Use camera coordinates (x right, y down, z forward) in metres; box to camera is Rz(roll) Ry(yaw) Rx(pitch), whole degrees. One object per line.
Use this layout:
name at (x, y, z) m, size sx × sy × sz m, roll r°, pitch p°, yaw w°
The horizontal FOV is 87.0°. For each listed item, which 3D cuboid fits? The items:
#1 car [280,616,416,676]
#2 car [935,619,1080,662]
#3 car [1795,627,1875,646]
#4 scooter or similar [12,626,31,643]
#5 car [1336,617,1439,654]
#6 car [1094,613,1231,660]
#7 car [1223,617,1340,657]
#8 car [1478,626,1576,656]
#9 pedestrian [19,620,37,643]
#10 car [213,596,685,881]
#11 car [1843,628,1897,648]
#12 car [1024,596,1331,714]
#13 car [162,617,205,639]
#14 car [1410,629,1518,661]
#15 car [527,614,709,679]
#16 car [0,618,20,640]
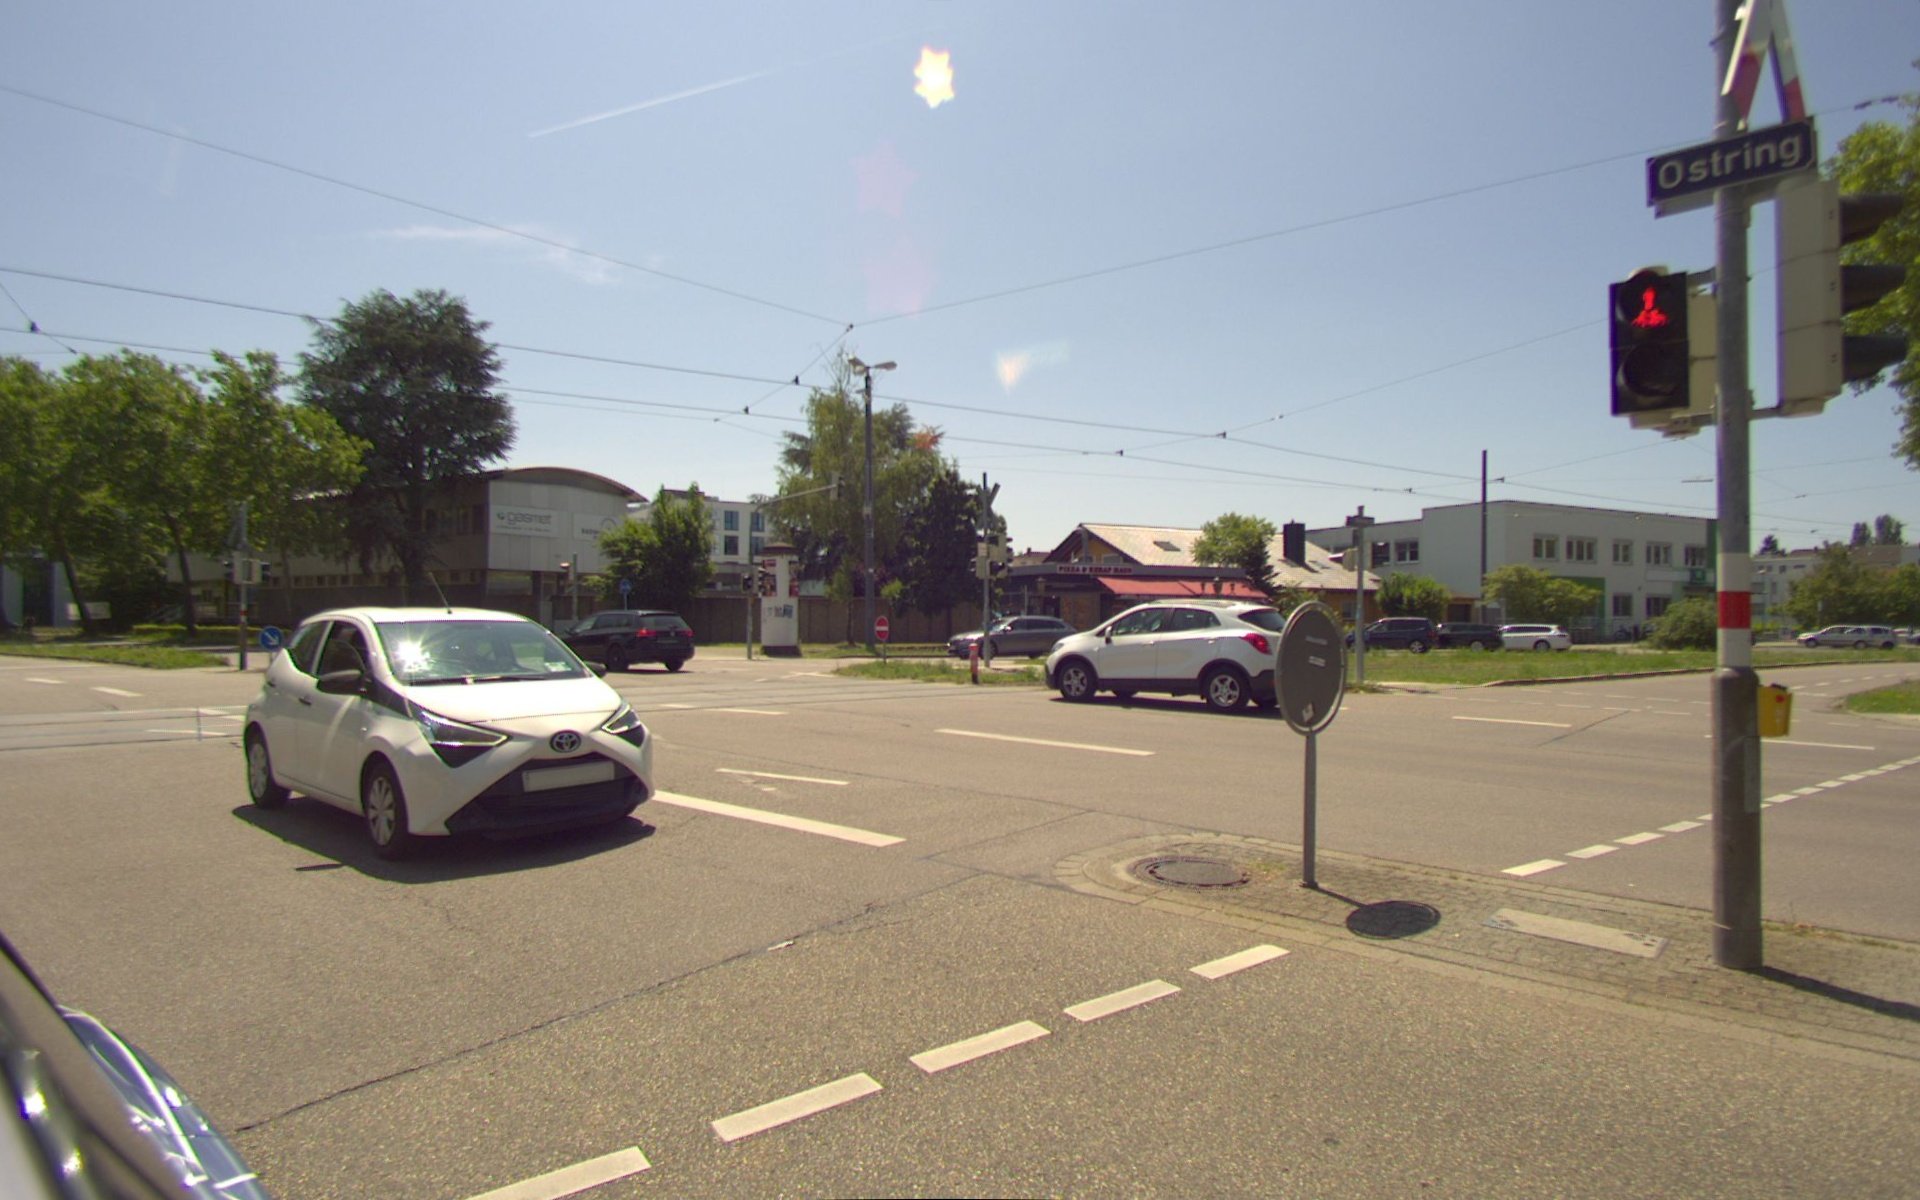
car at (-16.940, 1.218, 27.946) m, size 4.294 × 1.550 × 1.890 m, roll -1°, pitch -2°, yaw 39°
car at (1.617, 1.335, 34.585) m, size 4.589 × 1.391 × 1.894 m, roll 1°, pitch -1°, yaw -25°
car at (56.748, 2.350, 65.727) m, size 3.890 × 1.214 × 1.344 m, roll -1°, pitch -2°, yaw 40°
scooter or similar at (-64.720, 2.376, 69.800) m, size 0.854 × 1.172 × 0.674 m, roll -1°, pitch -1°, yaw 25°
car at (20.112, 1.635, 47.668) m, size 4.185 × 1.663 × 1.762 m, roll -1°, pitch -2°, yaw 36°
car at (7.384, 1.296, 36.949) m, size 4.384 × 1.617 × 2.224 m, roll 0°, pitch -1°, yaw -23°
car at (14.068, 1.612, 44.391) m, size 4.559 × 1.663 × 1.763 m, roll -1°, pitch -2°, yaw 35°
car at (28.537, 2.013, 51.014) m, size 4.056 × 1.434 × 1.921 m, roll -1°, pitch -2°, yaw 39°
pedestrian at (-63.964, 2.171, 69.451) m, size 0.787 × 1.572 × 0.638 m, roll -1°, pitch -2°, yaw 25°
car at (-3.688, 0.738, 7.050) m, size 3.648 × 1.456 × 1.602 m, roll -1°, pitch 1°, yaw 40°
car at (59.225, 2.462, 65.904) m, size 2.447 × 1.214 × 1.109 m, roll 0°, pitch -1°, yaw 32°
car at (3.322, 0.798, 15.919) m, size 4.398 × 1.627 × 1.770 m, roll -1°, pitch -2°, yaw 38°
car at (-63.253, 2.284, 82.422) m, size 3.518 × 1.659 × 1.800 m, roll 0°, pitch 1°, yaw 34°
car at (24.011, 2.106, 48.227) m, size 4.379 × 1.422 × 1.856 m, roll -1°, pitch -2°, yaw 36°
car at (-8.509, 1.085, 25.030) m, size 4.738 × 1.451 × 1.931 m, roll -1°, pitch -1°, yaw 37°
car at (-76.828, 2.266, 79.284) m, size 1.895 × 1.692 × 4.433 m, roll 0°, pitch -1°, yaw 8°
